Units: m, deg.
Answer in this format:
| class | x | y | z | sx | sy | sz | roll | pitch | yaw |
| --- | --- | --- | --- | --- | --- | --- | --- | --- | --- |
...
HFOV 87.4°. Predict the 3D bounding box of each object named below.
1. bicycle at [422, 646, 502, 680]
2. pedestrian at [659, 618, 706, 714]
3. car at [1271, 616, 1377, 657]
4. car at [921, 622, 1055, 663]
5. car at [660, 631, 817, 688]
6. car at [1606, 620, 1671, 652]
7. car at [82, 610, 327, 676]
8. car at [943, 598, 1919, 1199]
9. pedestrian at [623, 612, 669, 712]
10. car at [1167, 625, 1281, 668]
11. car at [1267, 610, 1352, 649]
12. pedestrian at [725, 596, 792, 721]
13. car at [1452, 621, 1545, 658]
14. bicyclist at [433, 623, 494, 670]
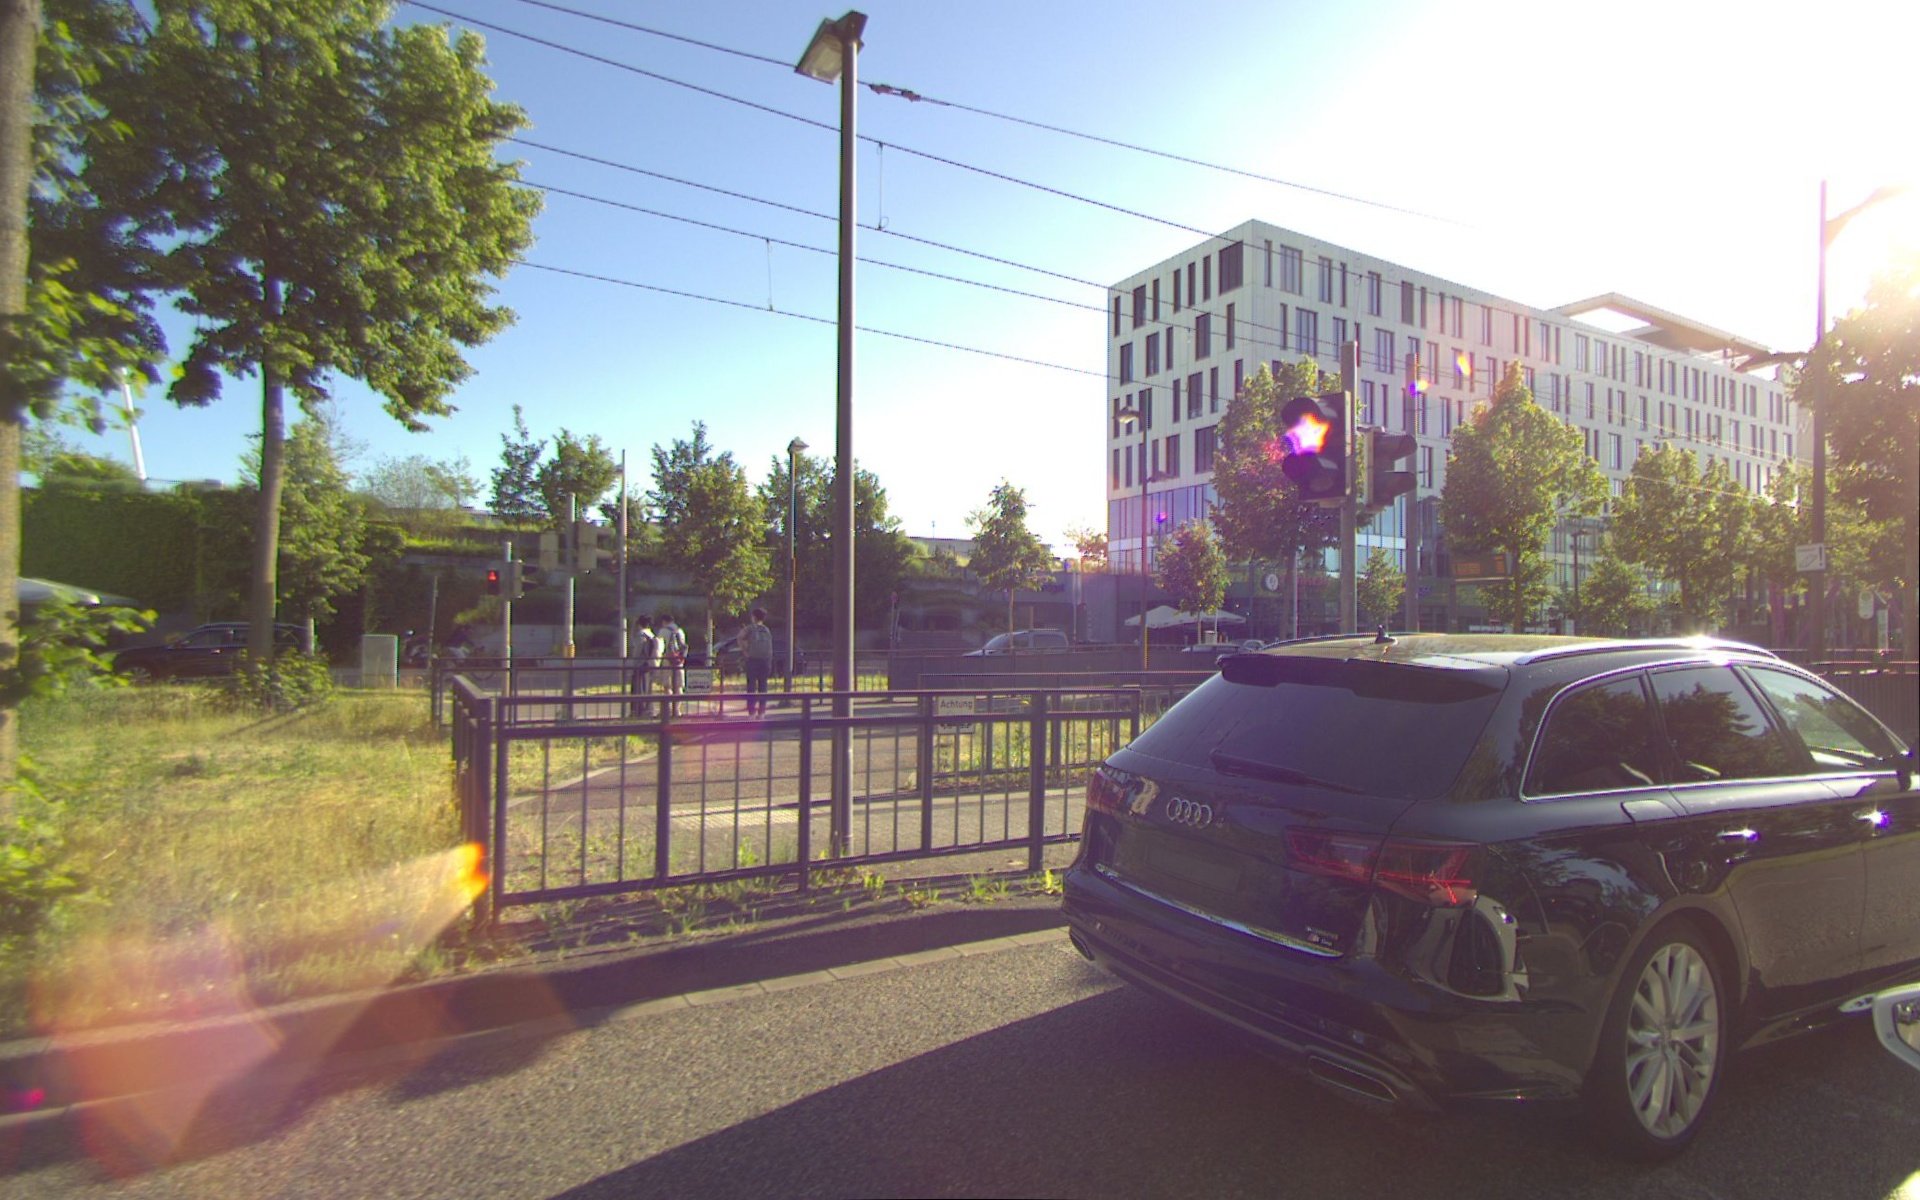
| class | x | y | z | sx | sy | sz | roll | pitch | yaw |
| --- | --- | --- | --- | --- | --- | --- | --- | --- | --- |
| bicycle | -15.440 | 1.949 | 31.155 | 2.163 | 1.014 | 0.494 | 3 | 0 | -31 |
| pedestrian | -4.541 | 1.070 | 16.431 | 0.595 | 1.516 | 0.541 | 2 | 0 | -26 |
| car | 16.469 | 1.662 | 45.353 | 4.555 | 1.694 | 1.985 | 3 | 0 | -29 |
| car | 1.047 | 1.555 | 36.655 | 4.555 | 1.343 | 1.904 | 3 | 0 | -29 |
| car | -7.097 | 1.910 | 32.243 | 4.555 | 1.642 | 1.871 | 3 | 0 | -29 |
| car | 48.218 | 2.554 | 71.383 | 4.508 | 2.040 | 1.985 | 2 | 0 | -29 |
| car | -18.454 | 1.068 | 24.848 | 4.555 | 1.454 | 1.871 | 3 | 0 | -29 |
| car | 2.608 | 0.821 | 4.112 | 5.022 | 1.500 | 1.945 | 2 | 0 | -28 |
| pedestrian | -4.967 | 0.978 | 15.901 | 0.580 | 1.538 | 0.548 | 2 | 0 | -25 |
| car | 11.189 | 1.978 | 42.516 | 4.555 | 1.630 | 1.985 | 3 | 0 | -29 |
| car | 19.652 | 1.660 | 56.500 | 4.508 | 2.040 | 1.984 | 2 | 0 | -29 |
| pedestrian | -3.123 | 0.888 | 15.522 | 0.718 | 1.860 | 0.816 | 2 | 0 | -32 |
| car | 28.184 | 2.076 | 52.539 | 4.794 | 1.737 | 1.985 | 3 | 0 | -29 |
| bicyclist | -15.406 | 1.456 | 31.170 | 1.641 | 1.424 | 0.486 | 2 | 0 | -31 |
